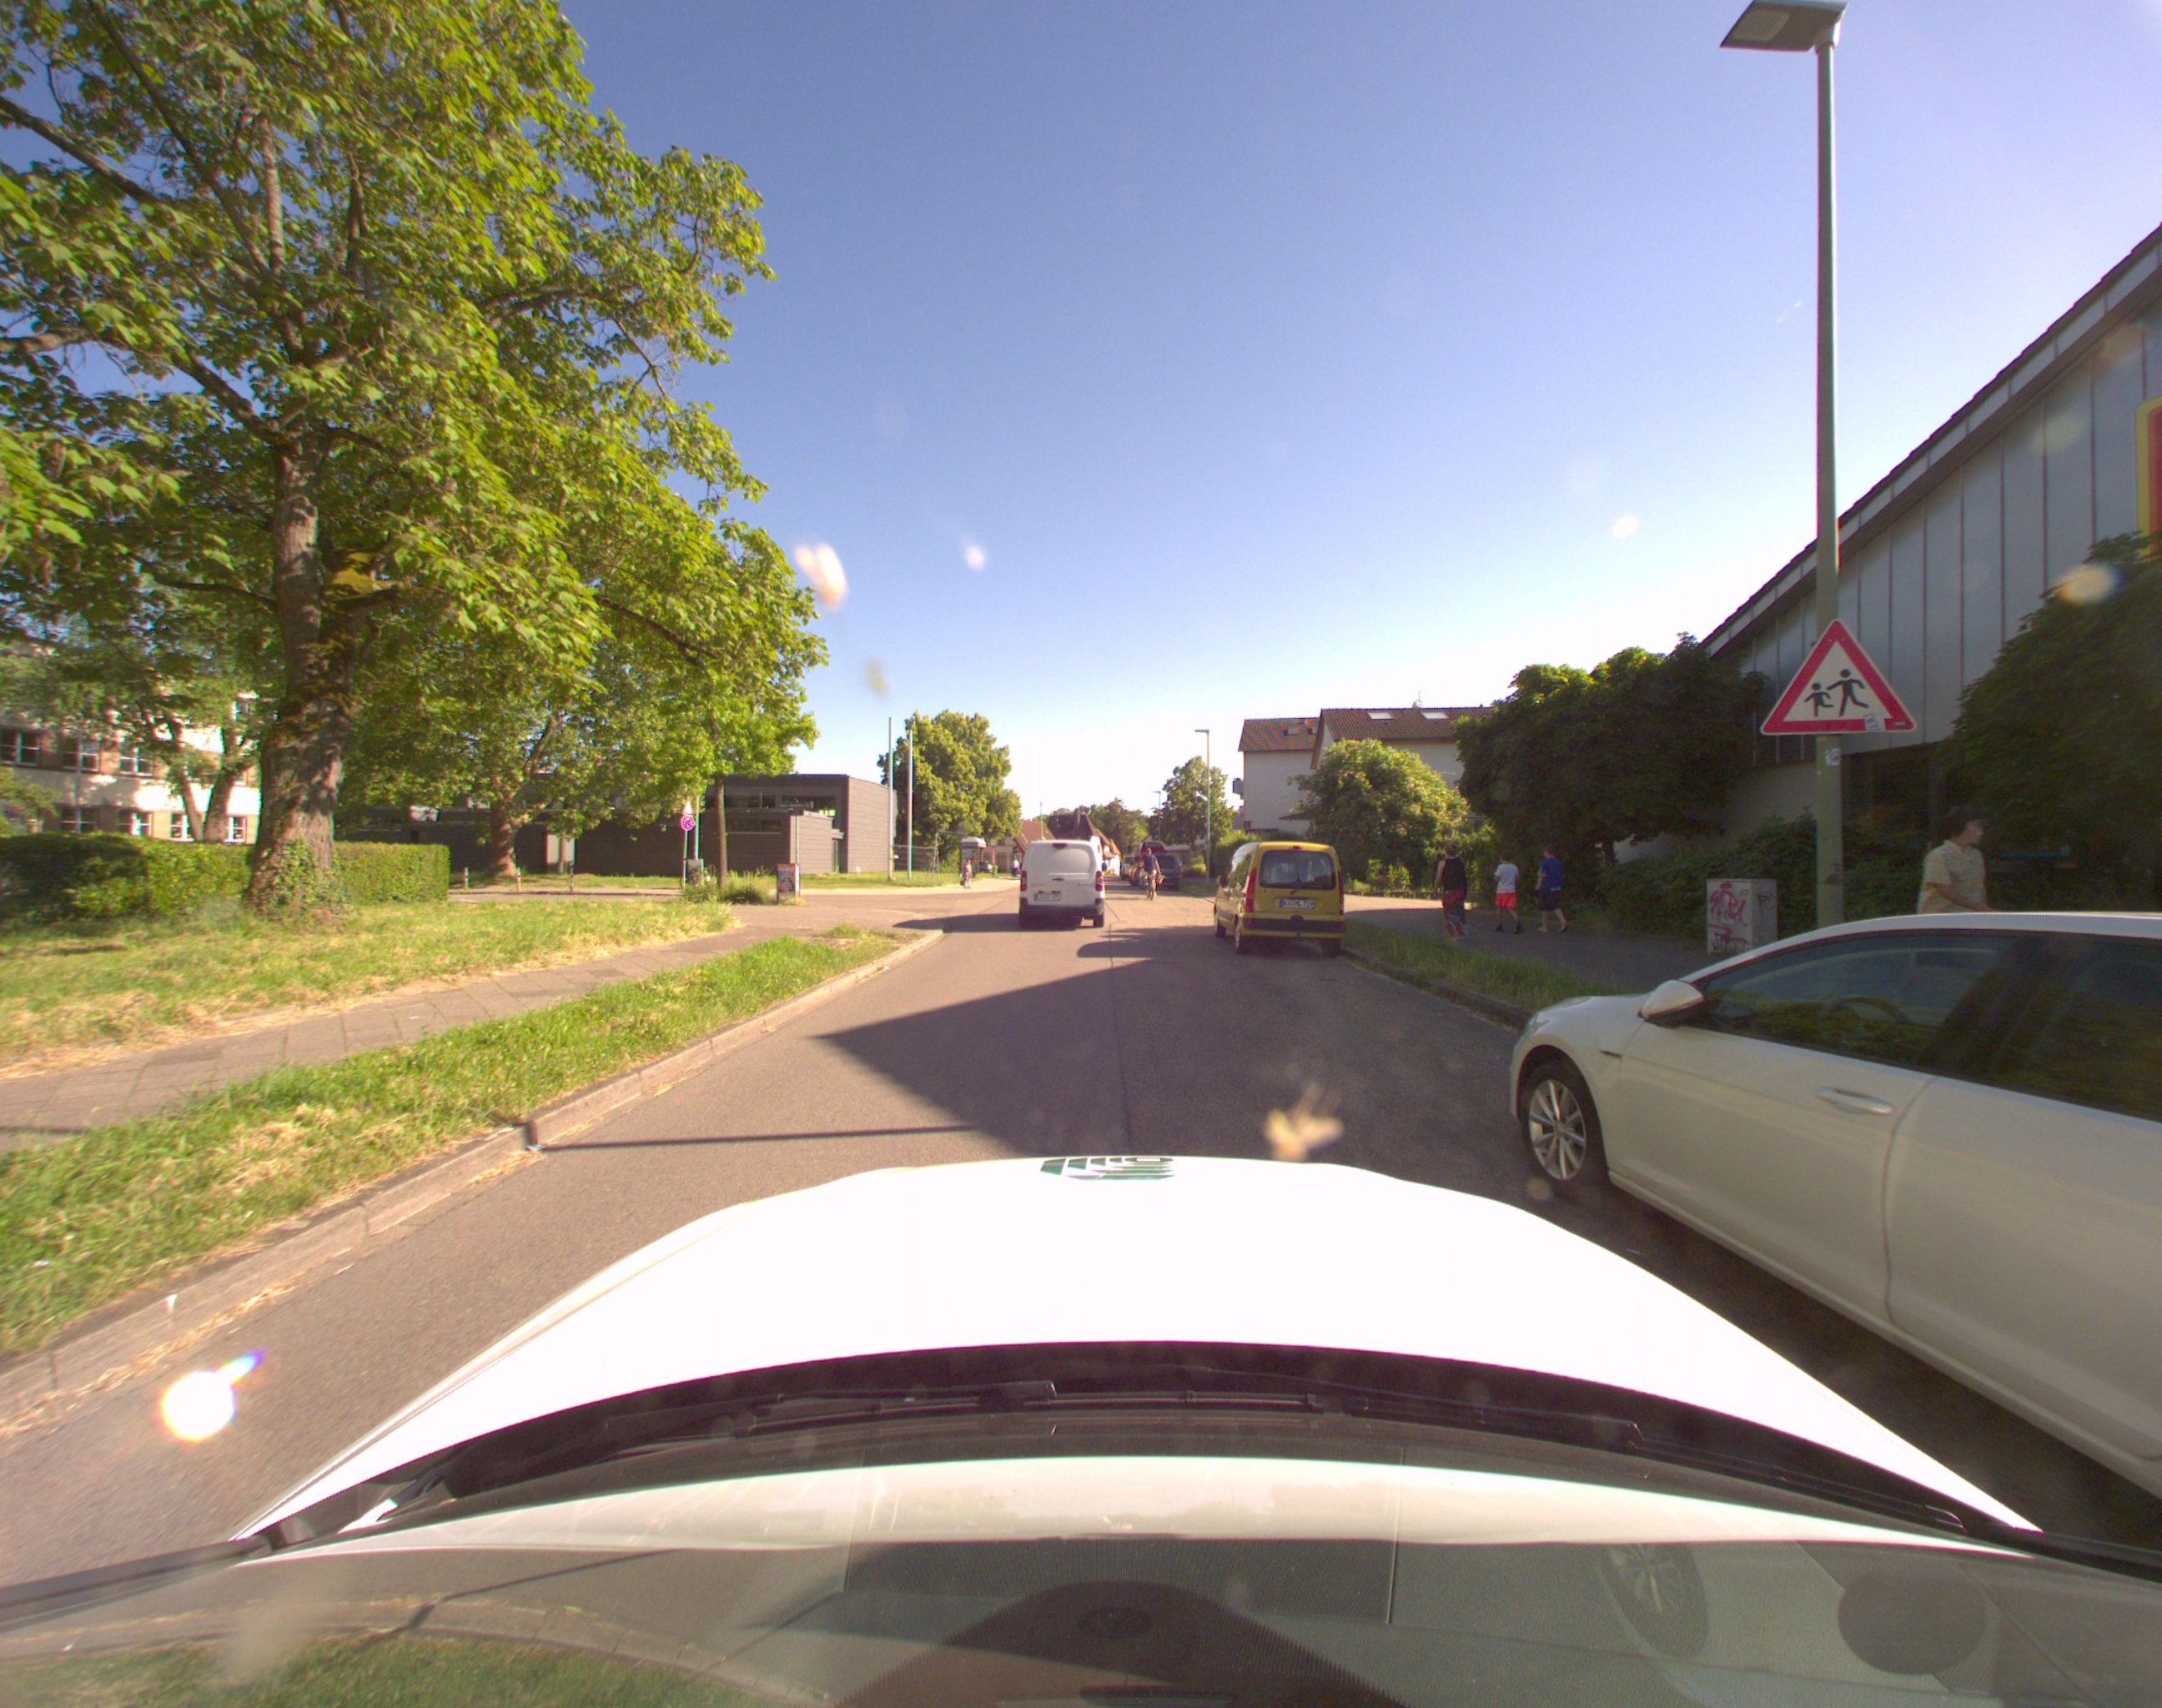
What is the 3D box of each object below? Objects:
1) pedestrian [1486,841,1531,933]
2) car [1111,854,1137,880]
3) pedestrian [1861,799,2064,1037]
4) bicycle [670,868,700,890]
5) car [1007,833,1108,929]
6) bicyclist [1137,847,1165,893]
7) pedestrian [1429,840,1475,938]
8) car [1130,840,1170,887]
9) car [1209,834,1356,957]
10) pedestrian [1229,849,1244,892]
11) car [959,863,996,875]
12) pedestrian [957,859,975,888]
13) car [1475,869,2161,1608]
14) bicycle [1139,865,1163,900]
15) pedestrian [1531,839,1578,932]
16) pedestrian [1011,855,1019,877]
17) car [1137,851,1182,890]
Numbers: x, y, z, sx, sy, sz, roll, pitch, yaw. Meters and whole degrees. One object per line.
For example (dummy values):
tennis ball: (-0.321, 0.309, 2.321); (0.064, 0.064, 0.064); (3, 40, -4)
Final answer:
pedestrian: (7.751, 0.580, 14.785); (0.564, 1.637, 0.547); (0, 0, 6)
car: (3.503, 1.083, 67.077); (1.798, 2.069, 3.999); (2, -1, 0)
pedestrian: (7.389, 0.506, 6.869); (0.793, 1.861, 0.872); (1, -1, -6)
bicycle: (-16.733, 1.063, 34.409); (1.025, 0.887, 0.434); (-1, 1, -43)
car: (-0.464, 0.542, 18.378); (1.987, 1.882, 4.288); (1, 0, 0)
bicyclist: (2.444, 0.557, 28.568); (0.902, 1.584, 0.967); (1, -1, 2)
pedestrian: (6.324, 0.591, 13.897); (0.564, 1.637, 0.547); (0, 0, 6)
car: (3.993, 0.560, 47.892); (1.860, 2.562, 4.766); (2, -1, 0)
car: (3.333, 0.637, 14.234); (1.717, 1.837, 4.002); (1, -1, 2)
pedestrian: (6.777, 0.695, 35.449); (0.482, 1.831, 0.486); (-3, 0, -1)
car: (-12.274, 1.765, 96.865); (3.945, 1.429, 1.724); (1, -1, 19)
pedestrian: (-5.786, 0.996, 41.011); (0.505, 1.446, 0.643); (3, -1, 34)
car: (3.087, 0.804, 2.516); (1.820, 1.452, 3.999); (1, 0, 0)
bicycle: (2.440, 0.968, 28.525); (0.783, 1.138, 2.281); (0, 0, 3)
pedestrian: (8.470, 0.553, 14.590); (0.564, 1.637, 0.547); (0, 0, 6)
pedestrian: (-5.590, 1.015, 69.294); (0.619, 1.805, 0.640); (0, -2, 0)
car: (3.899, 0.828, 40.781); (1.798, 1.785, 3.999); (2, -1, 0)
